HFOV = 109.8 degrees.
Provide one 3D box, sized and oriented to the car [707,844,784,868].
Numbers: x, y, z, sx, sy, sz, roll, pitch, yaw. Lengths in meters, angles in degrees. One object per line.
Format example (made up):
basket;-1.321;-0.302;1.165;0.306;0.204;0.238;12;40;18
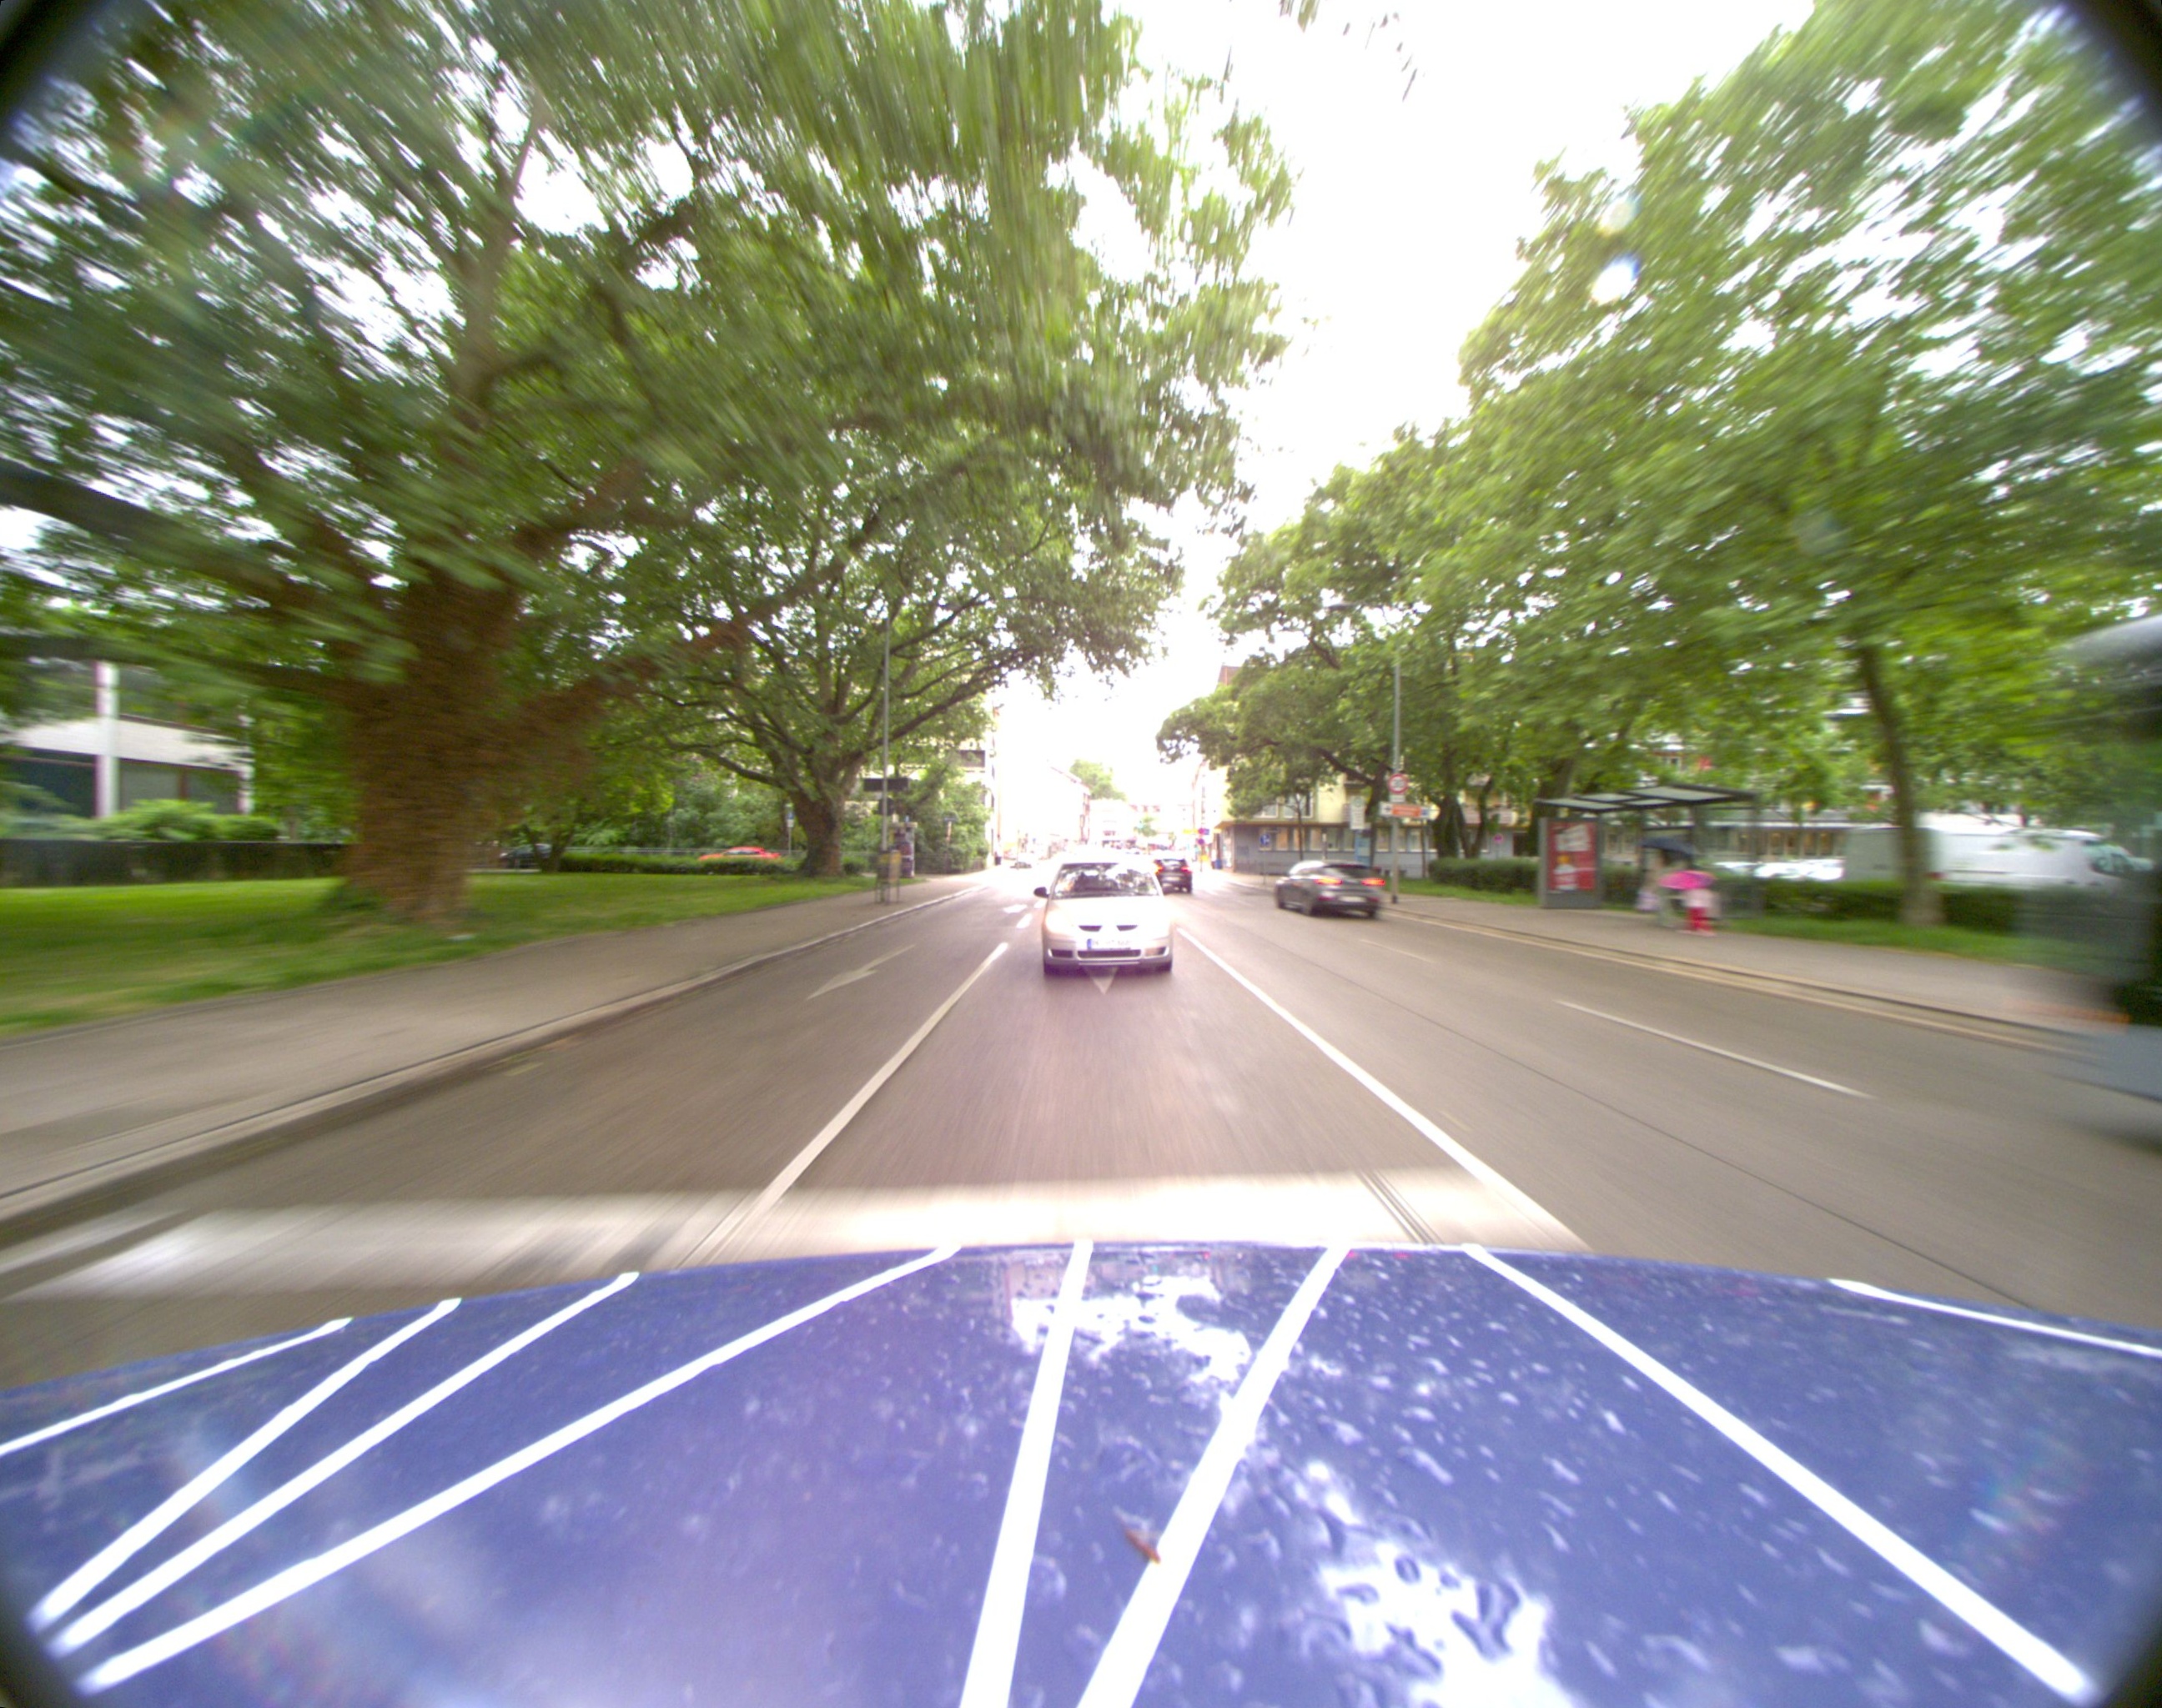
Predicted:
car;-19.378;0.112;44.024;3.792;1.271;1.575;1;1;-8

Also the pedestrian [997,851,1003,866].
pedestrian;-8.237;0.420;77.258;0.480;1.521;0.481;-2;2;0

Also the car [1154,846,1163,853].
car;18.781;-1.161;185.151;1.998;1.631;4.001;1;0;4

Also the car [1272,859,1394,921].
car;6.558;0.878;20.252;1.813;1.409;4.030;2;0;-1

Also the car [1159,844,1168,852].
car;20.583;-1.515;190.446;1.998;1.841;4.001;1;0;4

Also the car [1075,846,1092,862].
car;0.309;0.007;90.589;1.935;1.817;3.999;1;0;-1

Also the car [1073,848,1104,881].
car;0.375;0.547;41.323;1.584;1.705;3.648;1;1;-1

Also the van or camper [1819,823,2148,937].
van or camper;18.652;0.501;15.872;4.494;2.157;2.047;1;1;-2

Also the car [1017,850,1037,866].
car;-5.401;0.415;76.325;1.681;1.424;3.681;4;0;0

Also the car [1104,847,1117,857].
car;4.367;-0.273;111.646;1.701;1.434;3.896;1;0;0

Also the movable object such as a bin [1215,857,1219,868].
movable object such as a bin;12.731;0.752;71.306;0.338;1.023;0.353;1;1;7

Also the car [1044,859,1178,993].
car;0.375;0.875;10.676;1.576;1.514;3.240;-1;1;0

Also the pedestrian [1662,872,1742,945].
pedestrian;10.608;0.913;13.001;0.686;1.168;0.826;-2;1;0

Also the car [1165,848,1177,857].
car;17.049;-0.319;144.003;1.889;1.707;4.001;1;0;4

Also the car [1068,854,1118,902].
car;0.465;0.784;26.779;1.590;1.540;3.771;1;1;2

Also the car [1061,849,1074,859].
car;-2.043;-0.076;114.192;1.802;1.434;3.896;1;0;0

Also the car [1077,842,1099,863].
car;0.630;-0.156;69.137;1.935;1.817;3.999;0;1;-1

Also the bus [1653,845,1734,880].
bus;34.500;0.477;42.803;3.731;1.913;1.711;1;1;-16

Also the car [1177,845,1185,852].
car;24.886;-1.309;189.038;1.867;1.648;4.001;1;0;4

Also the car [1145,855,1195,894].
car;3.522;0.767;30.450;1.628;1.407;3.454;1;1;1

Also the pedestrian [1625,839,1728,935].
pedestrian;11.317;0.602;14.491;0.994;1.732;1.209;-2;1;0

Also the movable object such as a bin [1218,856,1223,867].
movable object such as a bin;13.106;0.694;71.256;0.415;1.023;0.353;1;1;7

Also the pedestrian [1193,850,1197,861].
pedestrian;18.172;0.215;121.020;0.594;1.833;0.565;1;1;7

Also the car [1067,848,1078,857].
car;-1.459;-0.296;130.257;1.870;1.571;3.821;1;0;1
